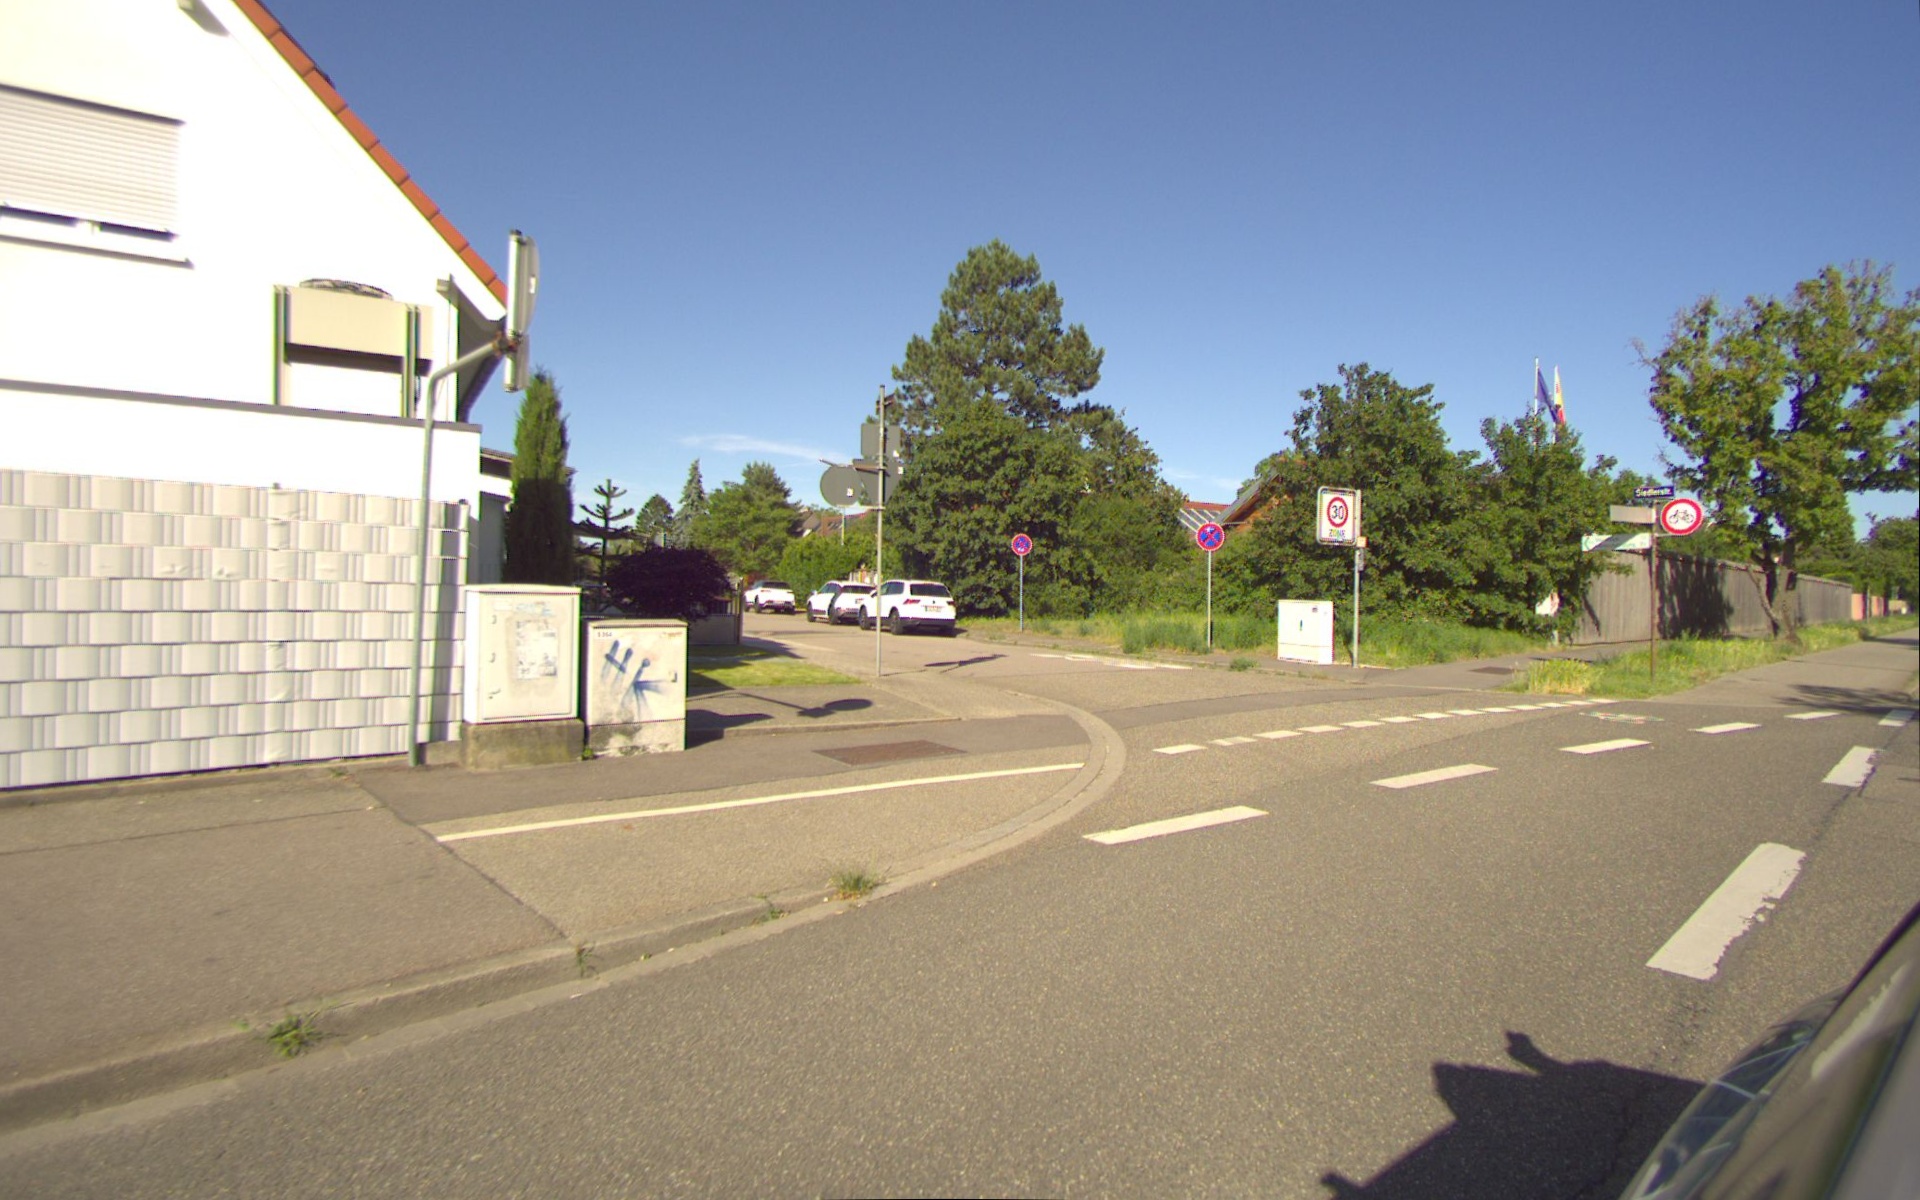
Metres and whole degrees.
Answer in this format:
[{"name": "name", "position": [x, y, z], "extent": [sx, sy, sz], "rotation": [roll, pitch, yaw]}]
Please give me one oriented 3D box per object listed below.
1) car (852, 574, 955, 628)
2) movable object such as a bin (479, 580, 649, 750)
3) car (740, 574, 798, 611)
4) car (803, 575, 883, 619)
[{"name": "car", "position": [-1.767, 0.078, 30.438], "extent": [1.805, 1.503, 3.930], "rotation": [0, -2, -24]}, {"name": "movable object such as a bin", "position": [-3.196, 0.464, 8.151], "extent": [1.043, 1.220, 1.005], "rotation": [-1, 2, -36]}, {"name": "car", "position": [-8.871, -0.363, 46.778], "extent": [1.745, 1.596, 3.758], "rotation": [1, 1, -24]}, {"name": "car", "position": [-4.230, -0.112, 36.131], "extent": [1.745, 1.502, 3.757], "rotation": [0, 0, -24]}]
